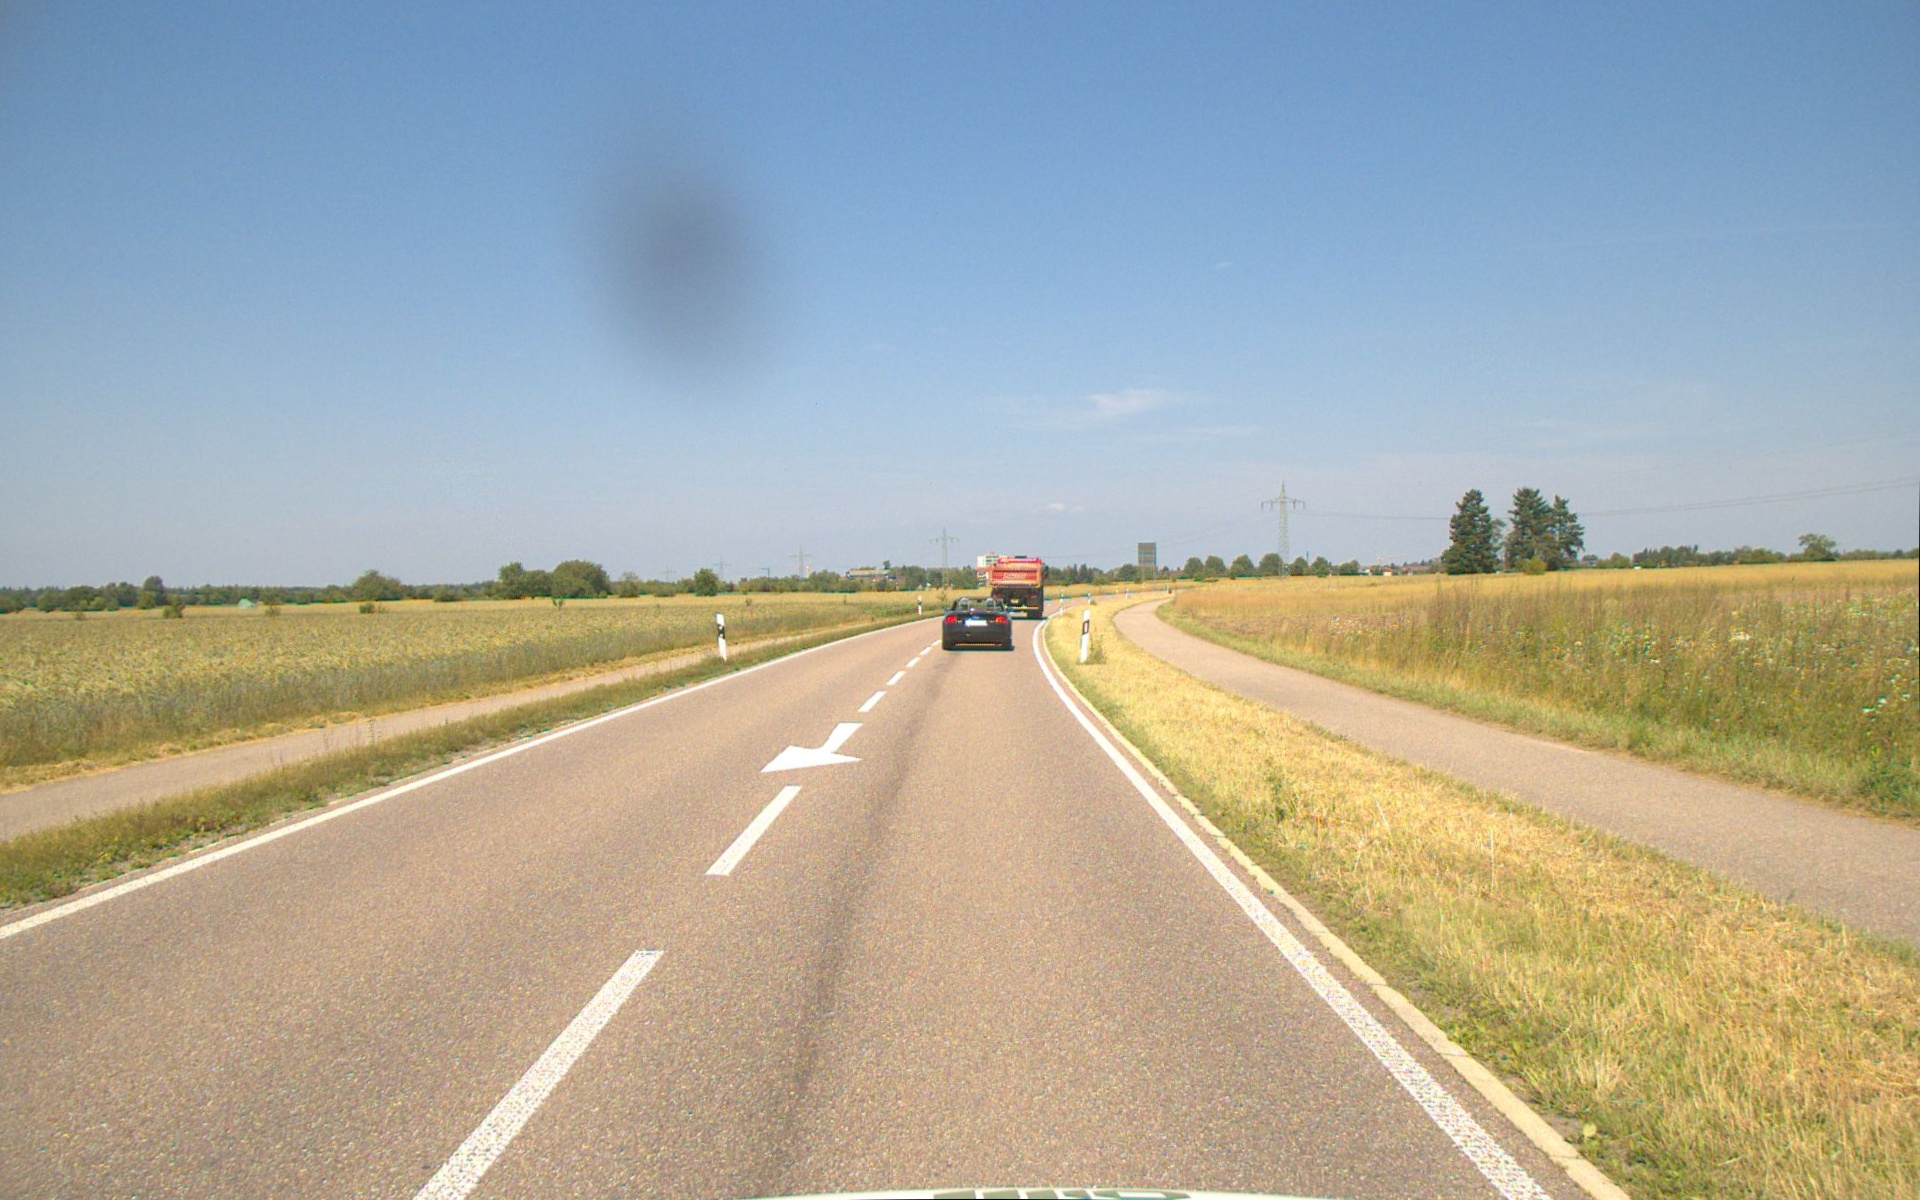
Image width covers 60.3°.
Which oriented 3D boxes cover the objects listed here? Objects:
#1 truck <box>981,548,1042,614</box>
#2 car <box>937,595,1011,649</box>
[{"bbox_3d":[2.642,-0.891,82.619,2.876,3.143,7.199,0,0,3],"label":"truck"},{"bbox_3d":[0.404,0.532,41.991,1.707,1.302,4.001,0,0,3],"label":"car"}]
